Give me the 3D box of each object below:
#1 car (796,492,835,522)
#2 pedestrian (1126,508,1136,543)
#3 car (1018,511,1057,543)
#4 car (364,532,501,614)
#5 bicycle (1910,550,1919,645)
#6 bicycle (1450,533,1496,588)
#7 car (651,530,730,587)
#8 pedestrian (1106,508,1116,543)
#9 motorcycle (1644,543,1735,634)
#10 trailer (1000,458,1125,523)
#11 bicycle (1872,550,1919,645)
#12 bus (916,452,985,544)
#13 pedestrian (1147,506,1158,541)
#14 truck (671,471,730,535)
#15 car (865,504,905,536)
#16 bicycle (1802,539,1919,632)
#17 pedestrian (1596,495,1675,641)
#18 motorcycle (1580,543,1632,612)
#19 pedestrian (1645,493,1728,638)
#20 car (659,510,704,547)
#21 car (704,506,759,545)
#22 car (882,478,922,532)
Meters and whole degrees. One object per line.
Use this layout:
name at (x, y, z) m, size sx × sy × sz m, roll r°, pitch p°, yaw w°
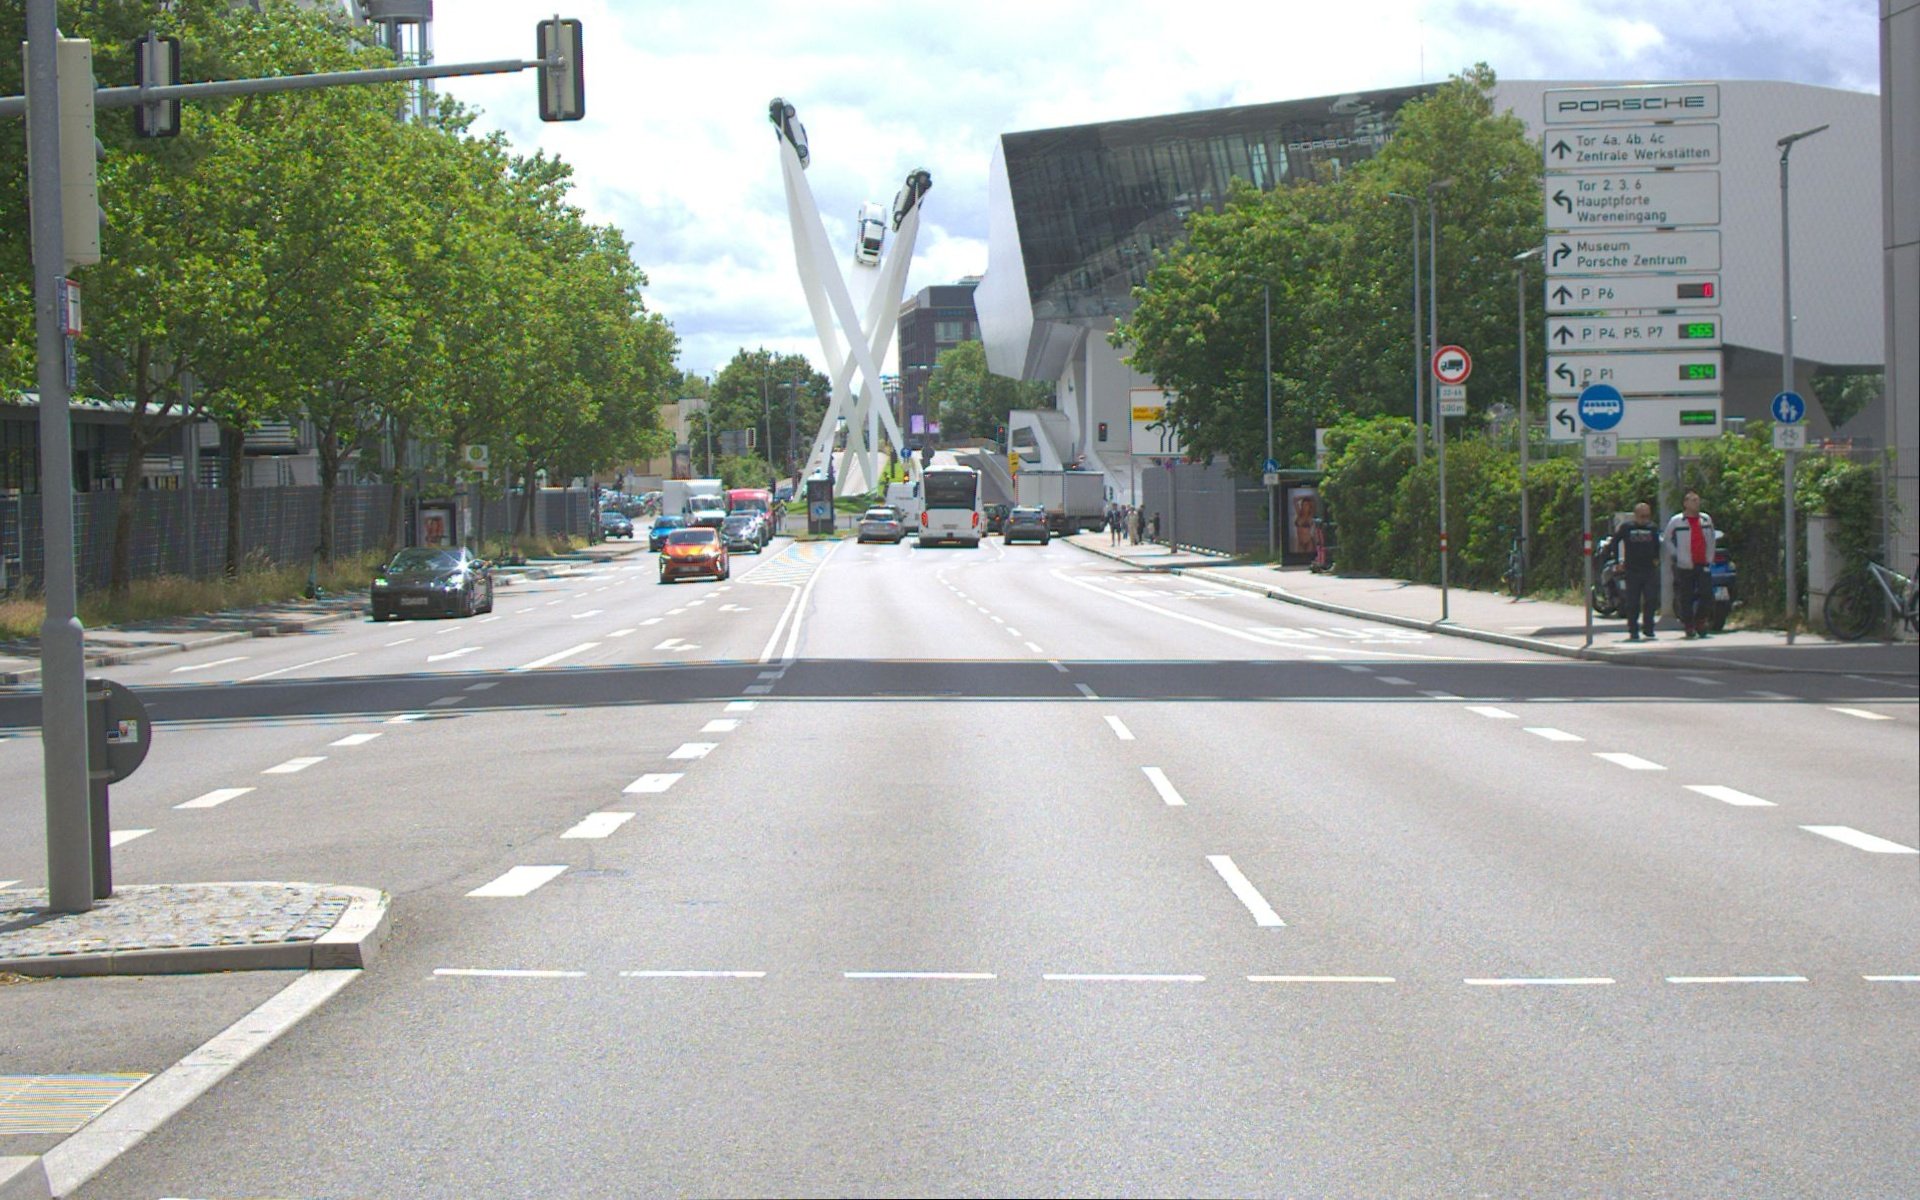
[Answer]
car at (-6.556, -4.216, 155.870) m, size 1.557 × 1.269 × 3.701 m, roll -3°, pitch 1°, yaw 0°
pedestrian at (6.824, -2.970, 137.156) m, size 0.386 × 1.416 × 0.423 m, roll 1°, pitch 0°, yaw 0°
car at (3.283, -3.110, 146.231) m, size 1.557 × 1.269 × 3.701 m, roll -3°, pitch 1°, yaw 1°
car at (-10.486, -0.569, 68.645) m, size 1.917 × 1.483 × 4.772 m, roll -3°, pitch 1°, yaw 0°
bicycle at (11.878, -0.006, 38.787) m, size 2.191 × 1.083 × 0.476 m, roll 1°, pitch 1°, yaw 35°
bicycle at (9.735, -0.743, 65.259) m, size 0.418 × 1.019 × 1.913 m, roll 1°, pitch 1°, yaw -5°
car at (-7.244, -1.136, 92.639) m, size 1.769 × 1.415 × 3.701 m, roll -3°, pitch 1°, yaw 0°
pedestrian at (6.065, -2.997, 137.960) m, size 0.386 × 1.416 × 0.423 m, roll 1°, pitch 0°, yaw 0°
motorcycle at (9.541, -0.165, 45.019) m, size 0.418 × 1.162 × 1.957 m, roll 1°, pitch 1°, yaw -11°
trailer at (5.223, -5.421, 172.073) m, size 3.322 × 2.984 × 10.366 m, roll 1°, pitch 1°, yaw 19°
bicycle at (11.657, -0.017, 39.534) m, size 2.222 × 1.083 × 0.476 m, roll 1°, pitch 1°, yaw 35°
bus at (-0.374, -4.229, 143.561) m, size 2.787 × 3.673 × 6.943 m, roll 1°, pitch 1°, yaw 0°
pedestrian at (7.752, -3.086, 138.514) m, size 0.386 × 1.416 × 0.423 m, roll 1°, pitch 0°, yaw 0°
truck at (-14.073, -5.230, 186.762) m, size 2.591 × 3.312 × 7.079 m, roll 1°, pitch 1°, yaw 0°
car at (-3.236, -3.465, 148.596) m, size 1.557 × 1.269 × 3.701 m, roll -3°, pitch 1°, yaw 1°
bicycle at (11.165, -0.174, 40.864) m, size 2.222 × 1.083 × 0.476 m, roll 1°, pitch 1°, yaw 35°
pedestrian at (8.480, -0.410, 43.171) m, size 0.641 × 1.787 × 0.712 m, roll -3°, pitch 1°, yaw -16°
motorcycle at (9.761, -0.344, 52.002) m, size 0.457 × 1.019 × 1.912 m, roll 1°, pitch 1°, yaw 1°
pedestrian at (9.145, -0.437, 43.275) m, size 0.691 × 1.787 × 0.712 m, roll -3°, pitch 1°, yaw -16°
car at (-12.114, -3.108, 149.620) m, size 1.797 × 1.568 × 4.001 m, roll 0°, pitch 1°, yaw -2°
car at (-8.697, -2.848, 131.144) m, size 1.769 × 1.415 × 3.701 m, roll -3°, pitch 1°, yaw 0°
car at (-2.905, -4.725, 171.213) m, size 1.843 × 2.614 × 4.000 m, roll 1°, pitch 1°, yaw -2°
